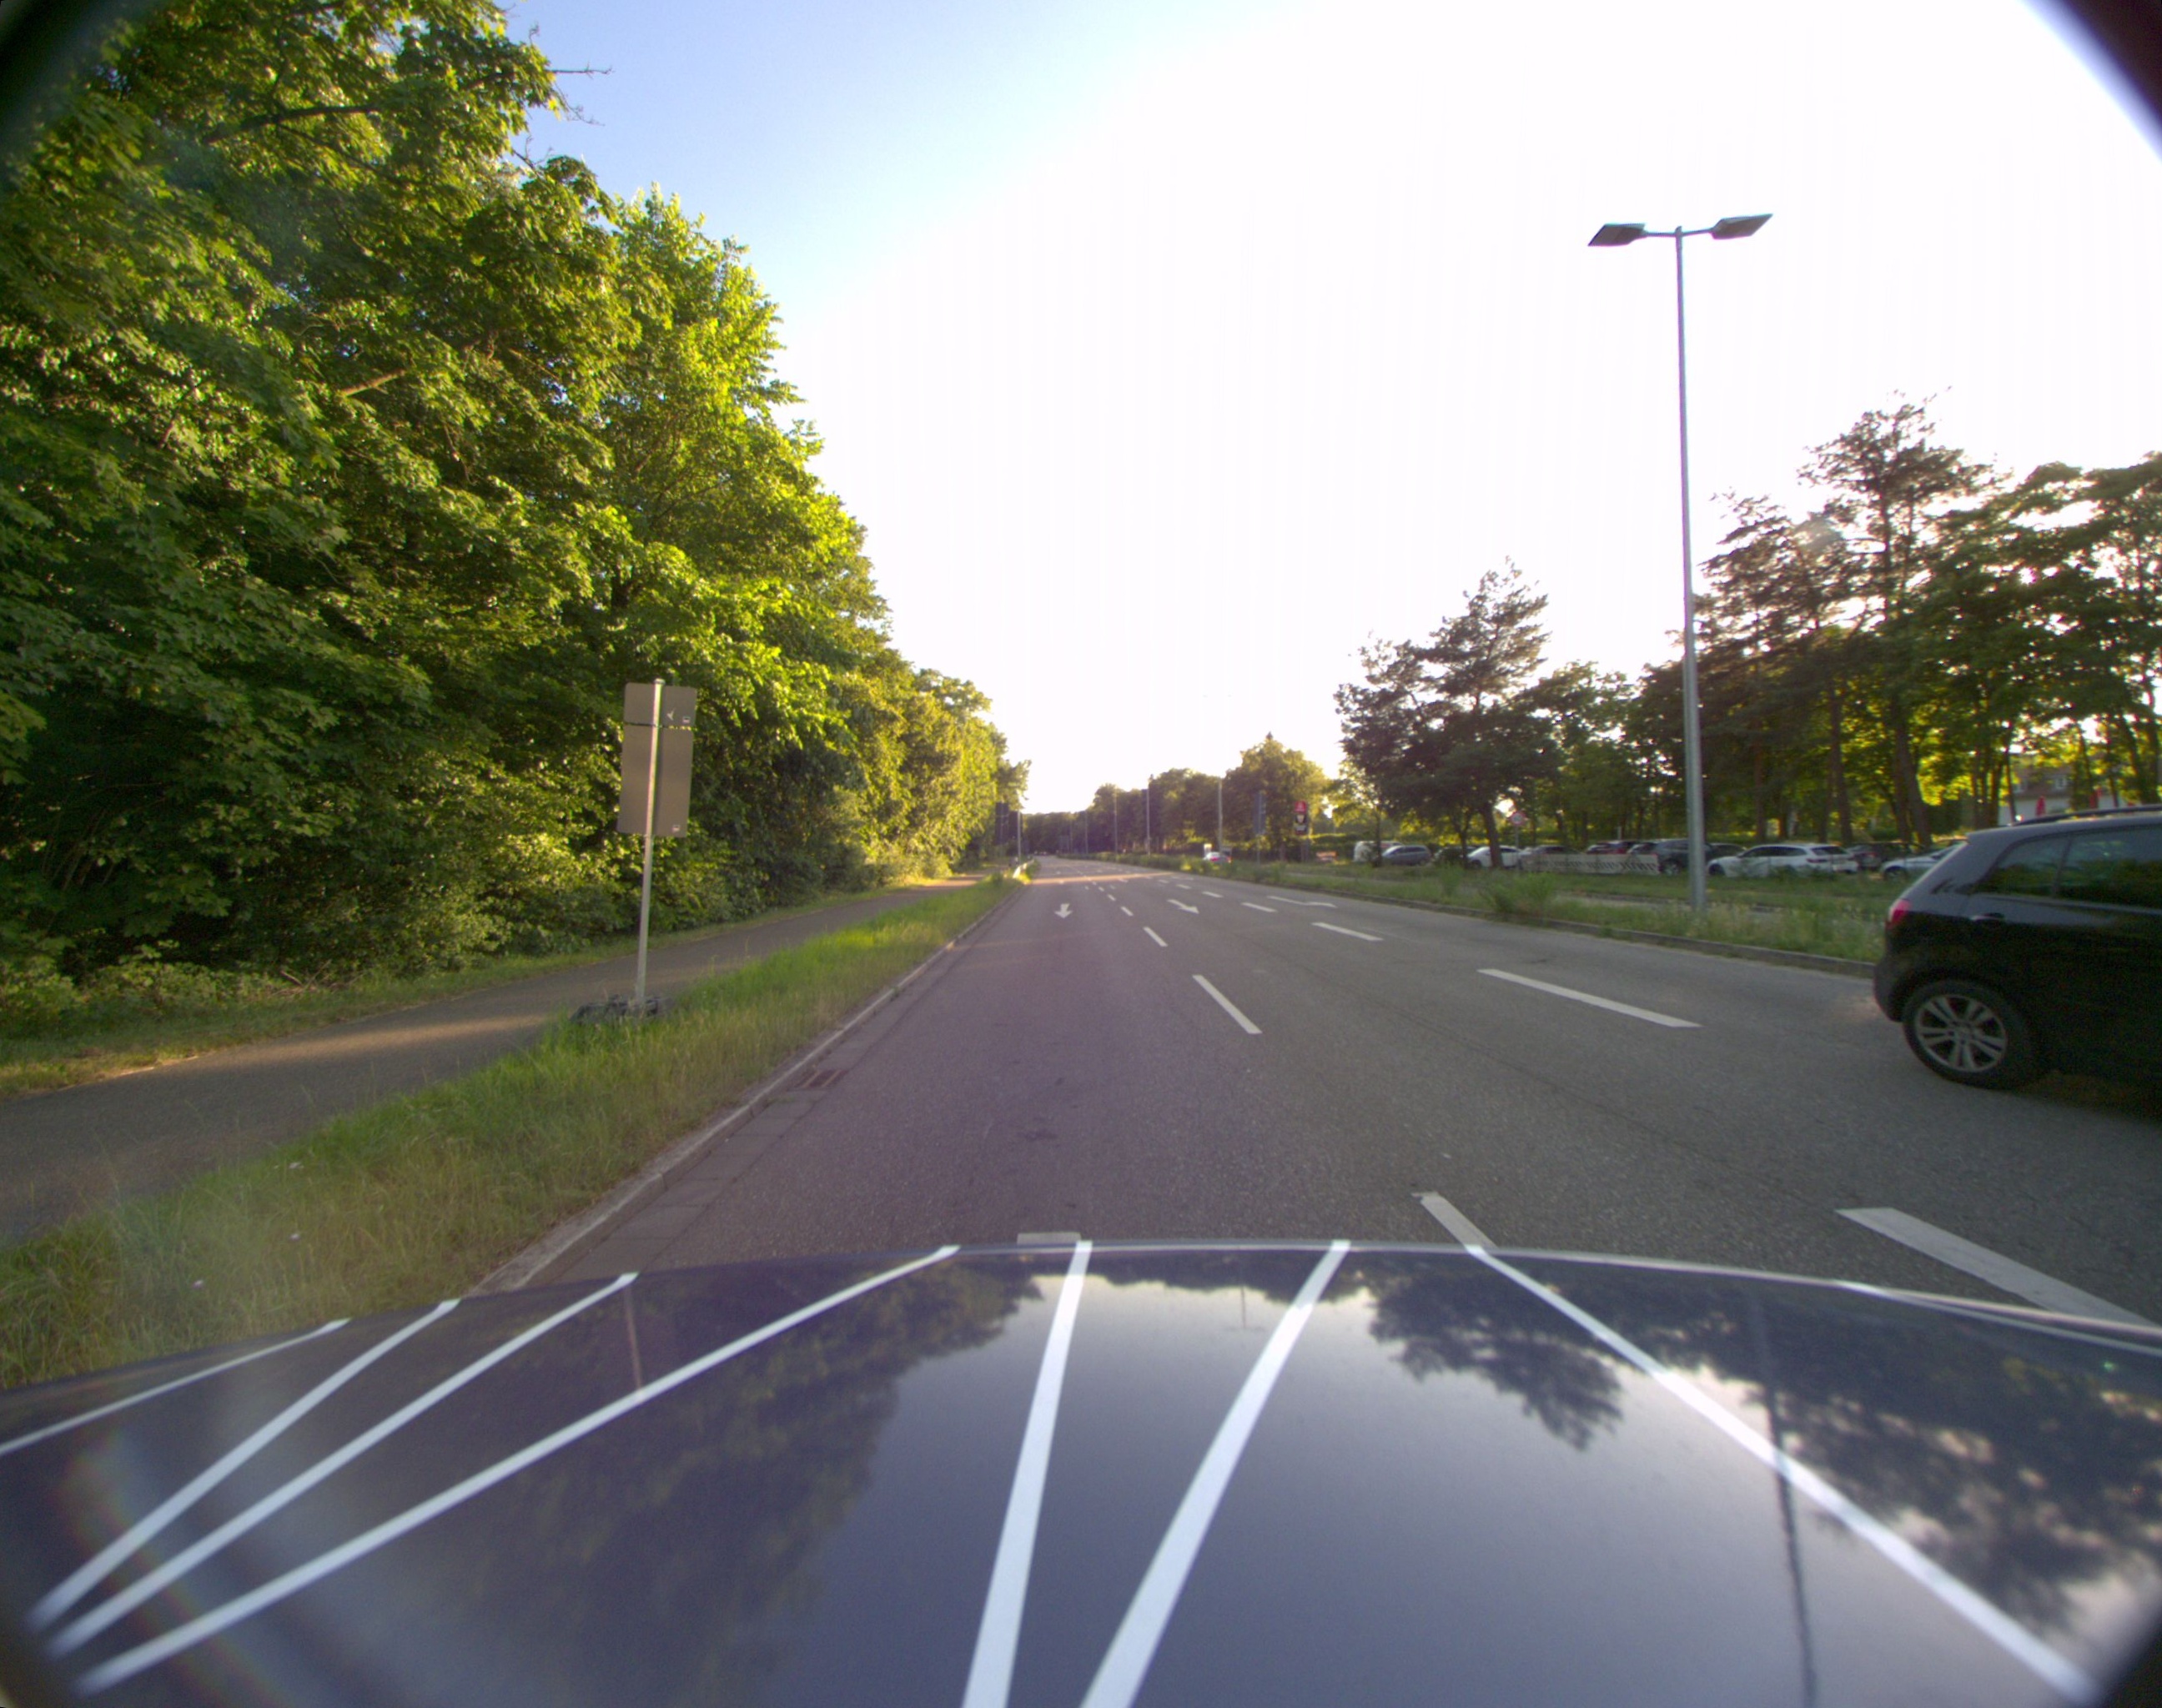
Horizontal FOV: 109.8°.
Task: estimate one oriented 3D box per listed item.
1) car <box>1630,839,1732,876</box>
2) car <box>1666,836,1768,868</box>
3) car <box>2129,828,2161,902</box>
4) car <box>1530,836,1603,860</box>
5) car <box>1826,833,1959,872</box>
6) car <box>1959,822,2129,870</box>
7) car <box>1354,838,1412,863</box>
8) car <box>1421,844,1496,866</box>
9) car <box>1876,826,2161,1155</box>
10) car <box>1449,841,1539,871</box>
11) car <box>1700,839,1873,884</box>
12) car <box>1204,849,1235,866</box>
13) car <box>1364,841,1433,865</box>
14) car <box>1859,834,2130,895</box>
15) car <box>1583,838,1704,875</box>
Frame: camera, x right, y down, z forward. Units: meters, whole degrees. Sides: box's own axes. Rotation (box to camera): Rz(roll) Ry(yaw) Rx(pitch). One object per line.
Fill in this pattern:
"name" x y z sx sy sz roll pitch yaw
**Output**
"car" 25.852 0.131 32.792 3.099 1.518 1.659 -1 1 -2
"car" 34.082 -0.120 40.794 3.997 1.641 1.766 -1 1 -1
"car" 27.108 0.260 16.412 1.999 1.776 4.920 -1 1 -4
"car" 34.123 -0.402 53.475 3.997 1.641 1.766 -1 1 -1
"car" 35.422 -0.072 33.239 3.997 1.641 1.766 -1 1 -1
"car" 34.982 -0.285 27.683 3.997 1.641 1.766 -1 1 -1
"car" 24.230 -0.253 61.062 3.998 1.933 1.766 -1 1 -2
"car" 24.122 0.072 48.639 3.997 1.304 1.732 -1 1 -1
"car" 6.071 0.629 2.830 1.999 1.543 3.999 -1 0 -1
"car" 25.171 0.130 46.398 4.497 1.743 1.909 -1 1 -1
"car" 26.422 0.258 28.728 1.999 1.539 4.708 -1 1 -4
"car" 12.586 0.269 69.260 1.896 1.433 4.499 -1 1 -1
"car" 24.213 -0.100 58.024 4.498 1.787 1.909 -1 1 -2
"car" 26.777 0.248 22.620 1.999 1.597 4.920 -1 1 -4
"car" 26.501 0.109 35.861 4.525 1.608 1.771 -1 1 -3
